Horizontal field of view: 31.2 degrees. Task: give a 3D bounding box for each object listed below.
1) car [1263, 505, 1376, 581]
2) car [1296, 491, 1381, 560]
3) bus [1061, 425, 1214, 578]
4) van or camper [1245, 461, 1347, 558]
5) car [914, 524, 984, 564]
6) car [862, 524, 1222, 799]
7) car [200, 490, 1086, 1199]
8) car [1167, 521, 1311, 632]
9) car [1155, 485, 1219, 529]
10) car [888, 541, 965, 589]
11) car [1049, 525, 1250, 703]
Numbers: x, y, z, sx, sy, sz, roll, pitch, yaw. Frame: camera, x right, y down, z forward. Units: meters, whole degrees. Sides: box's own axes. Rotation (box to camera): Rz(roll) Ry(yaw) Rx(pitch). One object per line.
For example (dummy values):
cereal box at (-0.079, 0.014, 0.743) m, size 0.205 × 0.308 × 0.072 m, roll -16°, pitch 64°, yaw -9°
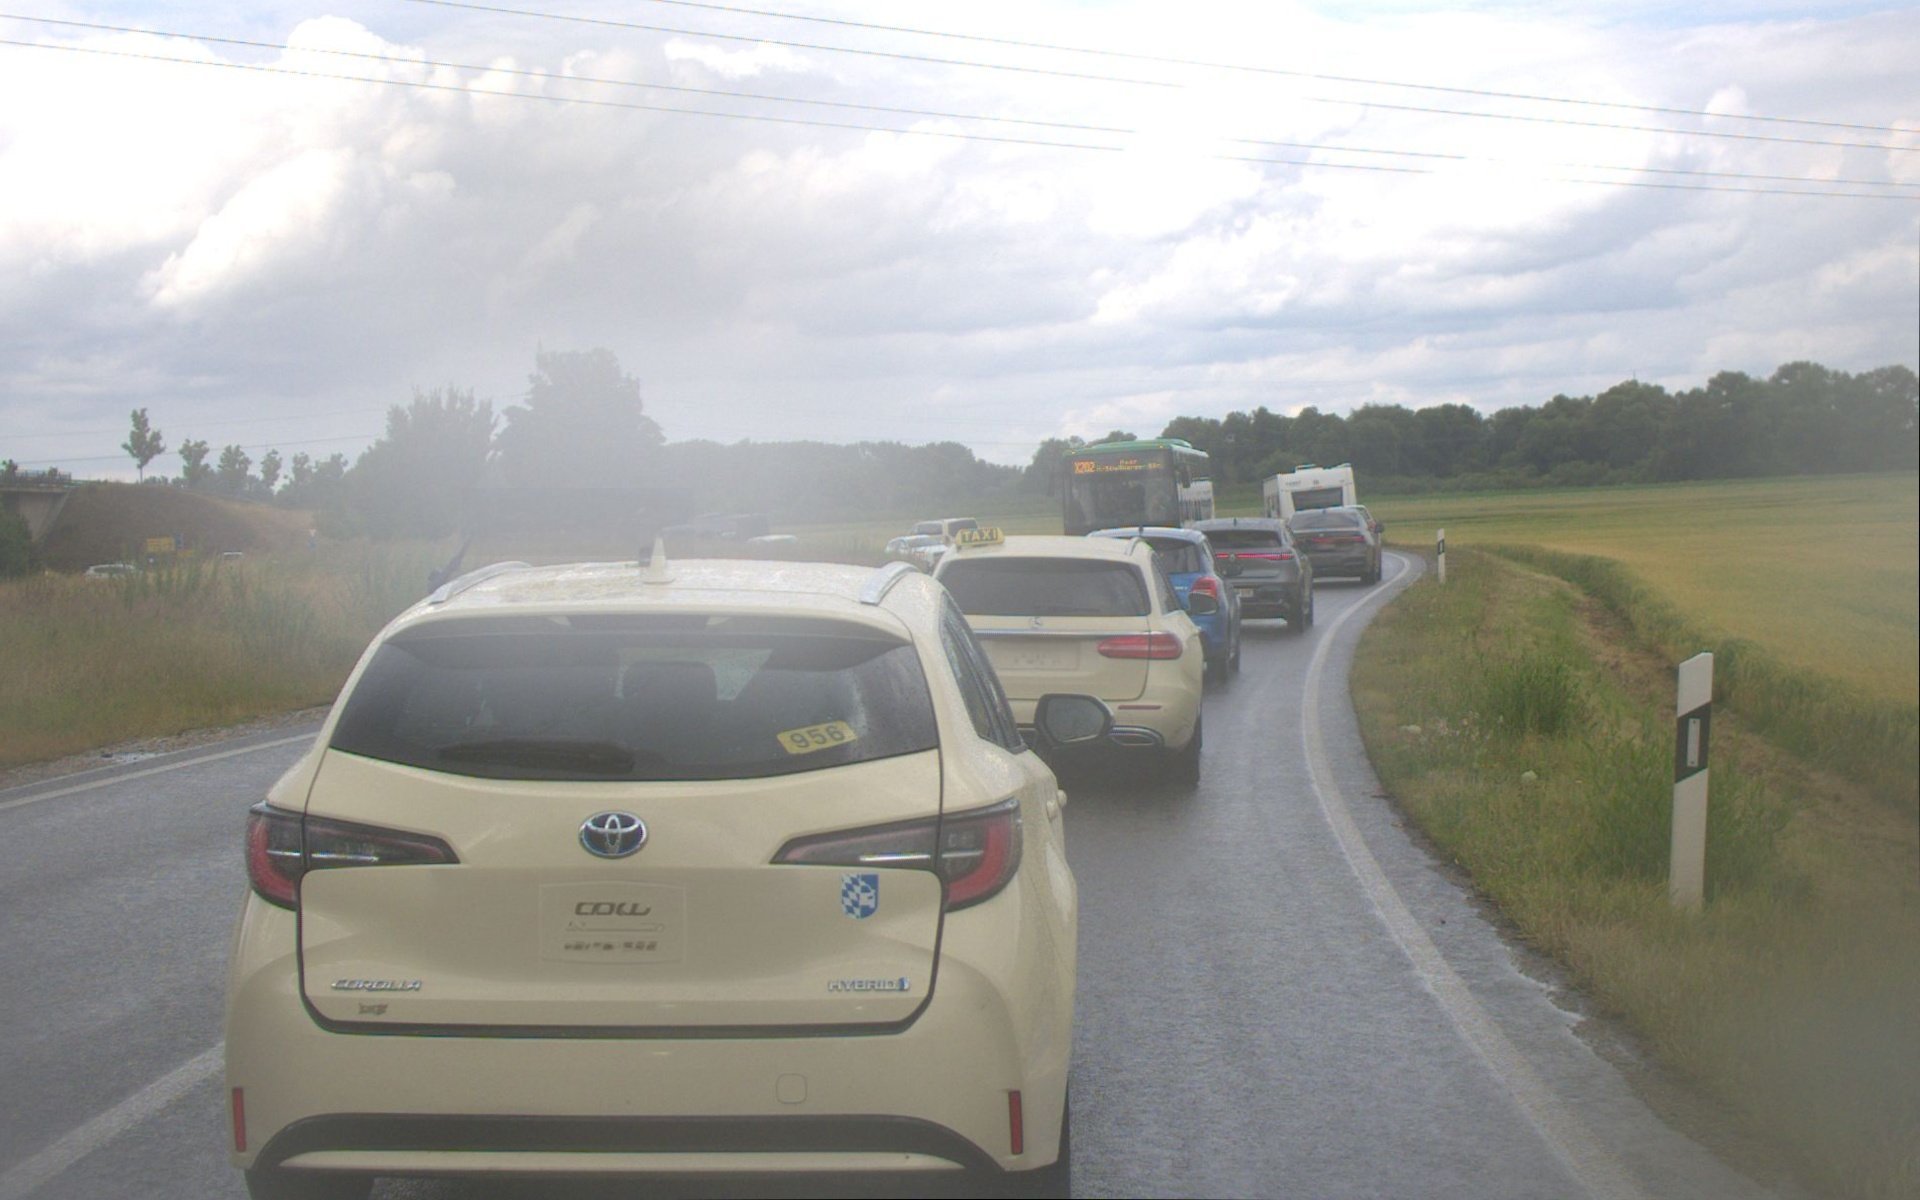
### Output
car at (7.038, -1.095, 66.971) m, size 1.960 × 1.408 × 4.390 m, roll 0°, pitch 0°, yaw 9°
car at (9.933, -1.948, 90.494) m, size 1.960 × 1.723 × 3.738 m, roll 0°, pitch 0°, yaw 2°
bus at (4.264, -2.257, 79.925) m, size 2.759 × 3.286 × 12.500 m, roll 0°, pitch 1°, yaw 7°
van or camper at (10.294, -2.769, 105.865) m, size 2.536 × 2.886 × 6.743 m, roll 0°, pitch 1°, yaw 0°
car at (-0.509, -2.534, 156.325) m, size 1.882 × 1.767 × 4.161 m, roll 0°, pitch 0°, yaw -20°
car at (0.625, 0.289, 21.369) m, size 1.841 × 1.487 × 4.607 m, roll 1°, pitch 1°, yaw 6°
car at (-0.522, 0.575, 8.210) m, size 1.613 × 1.557 × 3.738 m, roll 0°, pitch 0°, yaw 2°
car at (3.764, -0.311, 45.900) m, size 1.613 × 1.408 × 3.737 m, roll 0°, pitch 0°, yaw 9°
car at (6.858, -2.800, 104.172) m, size 1.719 × 1.247 × 4.000 m, roll 0°, pitch 0°, yaw 1°
car at (-1.463, -1.495, 148.647) m, size 1.993 × 2.007 × 4.380 m, roll 0°, pitch 0°, yaw -20°
car at (1.927, 0.123, 34.031) m, size 1.613 × 1.653 × 3.737 m, roll 0°, pitch 0°, yaw 9°
